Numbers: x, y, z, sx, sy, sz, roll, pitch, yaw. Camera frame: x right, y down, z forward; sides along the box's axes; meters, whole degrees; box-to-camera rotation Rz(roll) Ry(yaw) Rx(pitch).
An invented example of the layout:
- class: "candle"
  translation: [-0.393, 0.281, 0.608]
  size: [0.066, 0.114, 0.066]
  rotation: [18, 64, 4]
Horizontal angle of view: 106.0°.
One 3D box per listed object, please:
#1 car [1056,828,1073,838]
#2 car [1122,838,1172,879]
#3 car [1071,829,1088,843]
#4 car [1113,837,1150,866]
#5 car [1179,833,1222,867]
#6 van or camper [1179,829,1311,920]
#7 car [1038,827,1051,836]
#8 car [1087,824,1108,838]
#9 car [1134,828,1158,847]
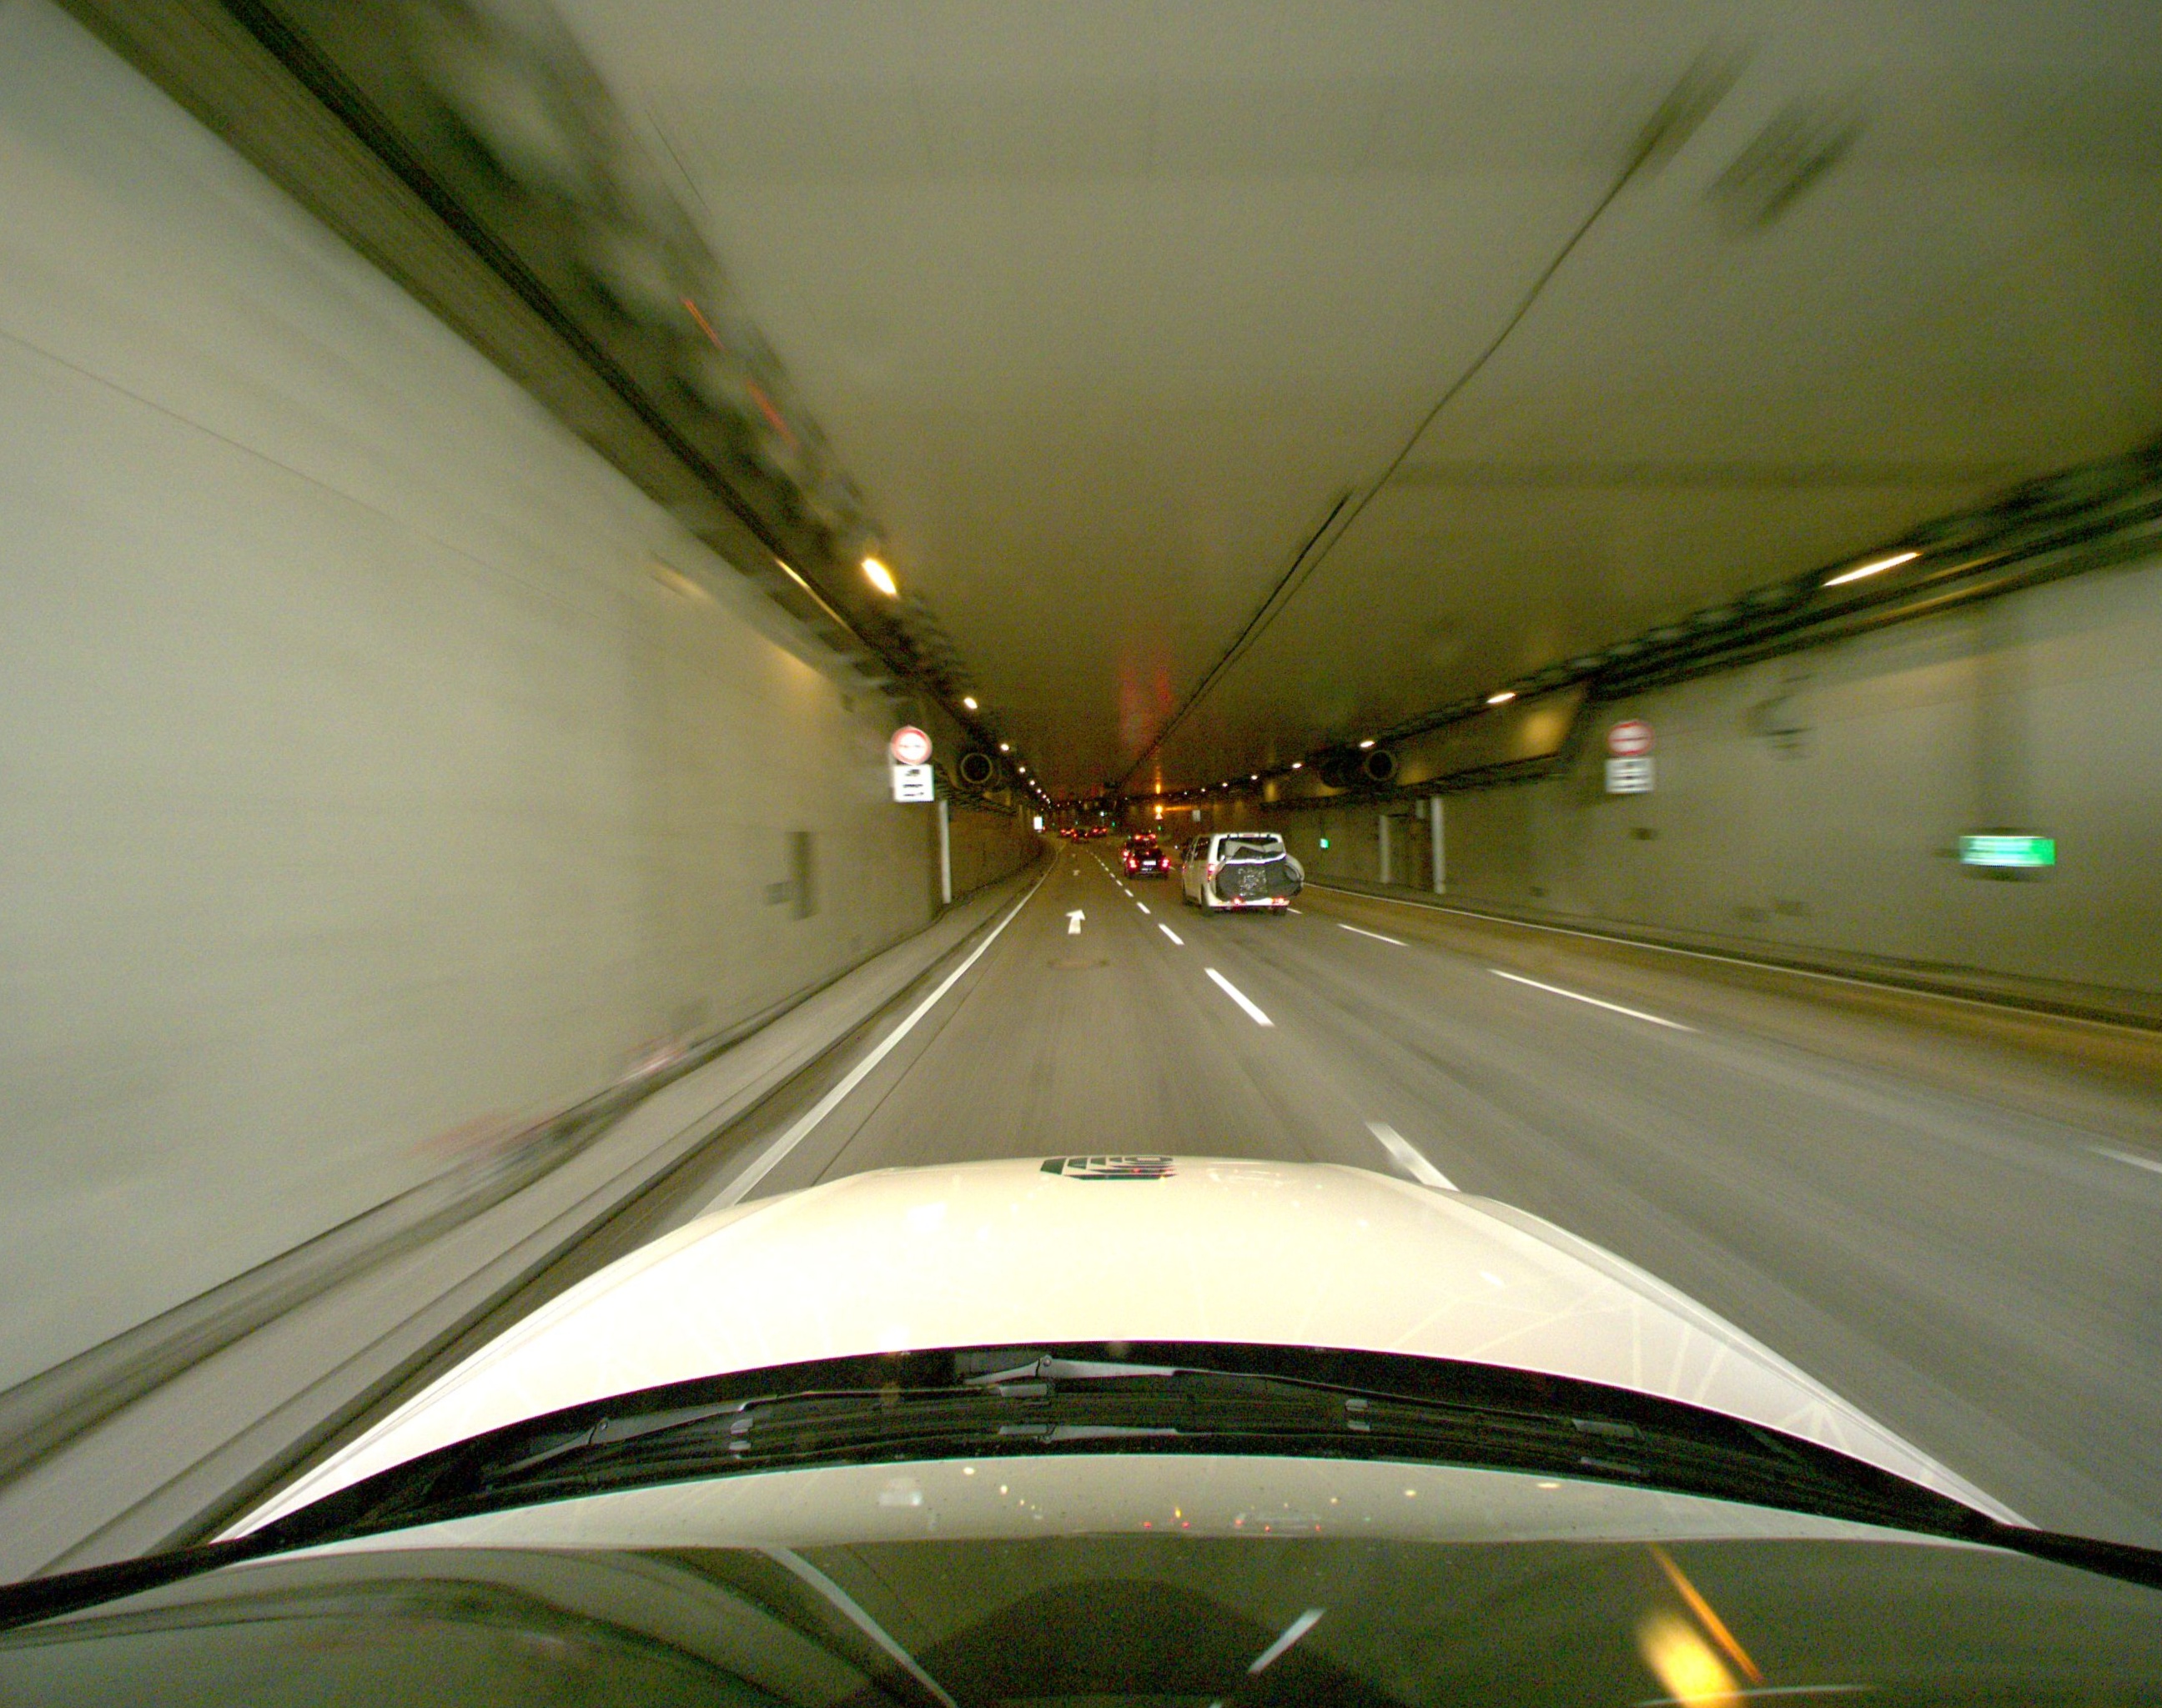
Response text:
- class: "car"
  translation: [-2.158, -2.754, 106.664]
  size: [1.664, 1.247, 3.555]
  rotation: [-1, 1, -10]
- class: "car"
  translation: [2.863, 0.143, 36.073]
  size: [1.813, 1.683, 3.999]
  rotation: [0, 2, -1]
- class: "car"
  translation: [-0.170, -1.974, 90.133]
  size: [1.656, 1.488, 3.563]
  rotation: [-1, 1, -3]
- class: "car"
  translation: [2.976, -0.179, 48.787]
  size: [1.813, 1.580, 3.999]
  rotation: [2, 2, -1]
- class: "car"
  translation: [6.782, -0.278, 46.625]
  size: [1.813, 1.749, 4.000]
  rotation: [2, 2, 0]
- class: "van or camper"
  translation: [3.643, 0.393, 19.174]
  size: [1.987, 1.845, 5.507]
  rotation: [0, 0, 0]
- class: "car"
  translation: [-5.890, -3.664, 130.594]
  size: [1.509, 1.246, 3.553]
  rotation: [-4, 1, -11]
- class: "car"
  translation: [2.028, -2.847, 102.523]
  size: [1.989, 1.676, 4.495]
  rotation: [-1, 1, -8]
- class: "car"
  translation: [5.901, -1.509, 74.197]
  size: [1.657, 1.633, 3.563]
  rotation: [2, 2, -4]
